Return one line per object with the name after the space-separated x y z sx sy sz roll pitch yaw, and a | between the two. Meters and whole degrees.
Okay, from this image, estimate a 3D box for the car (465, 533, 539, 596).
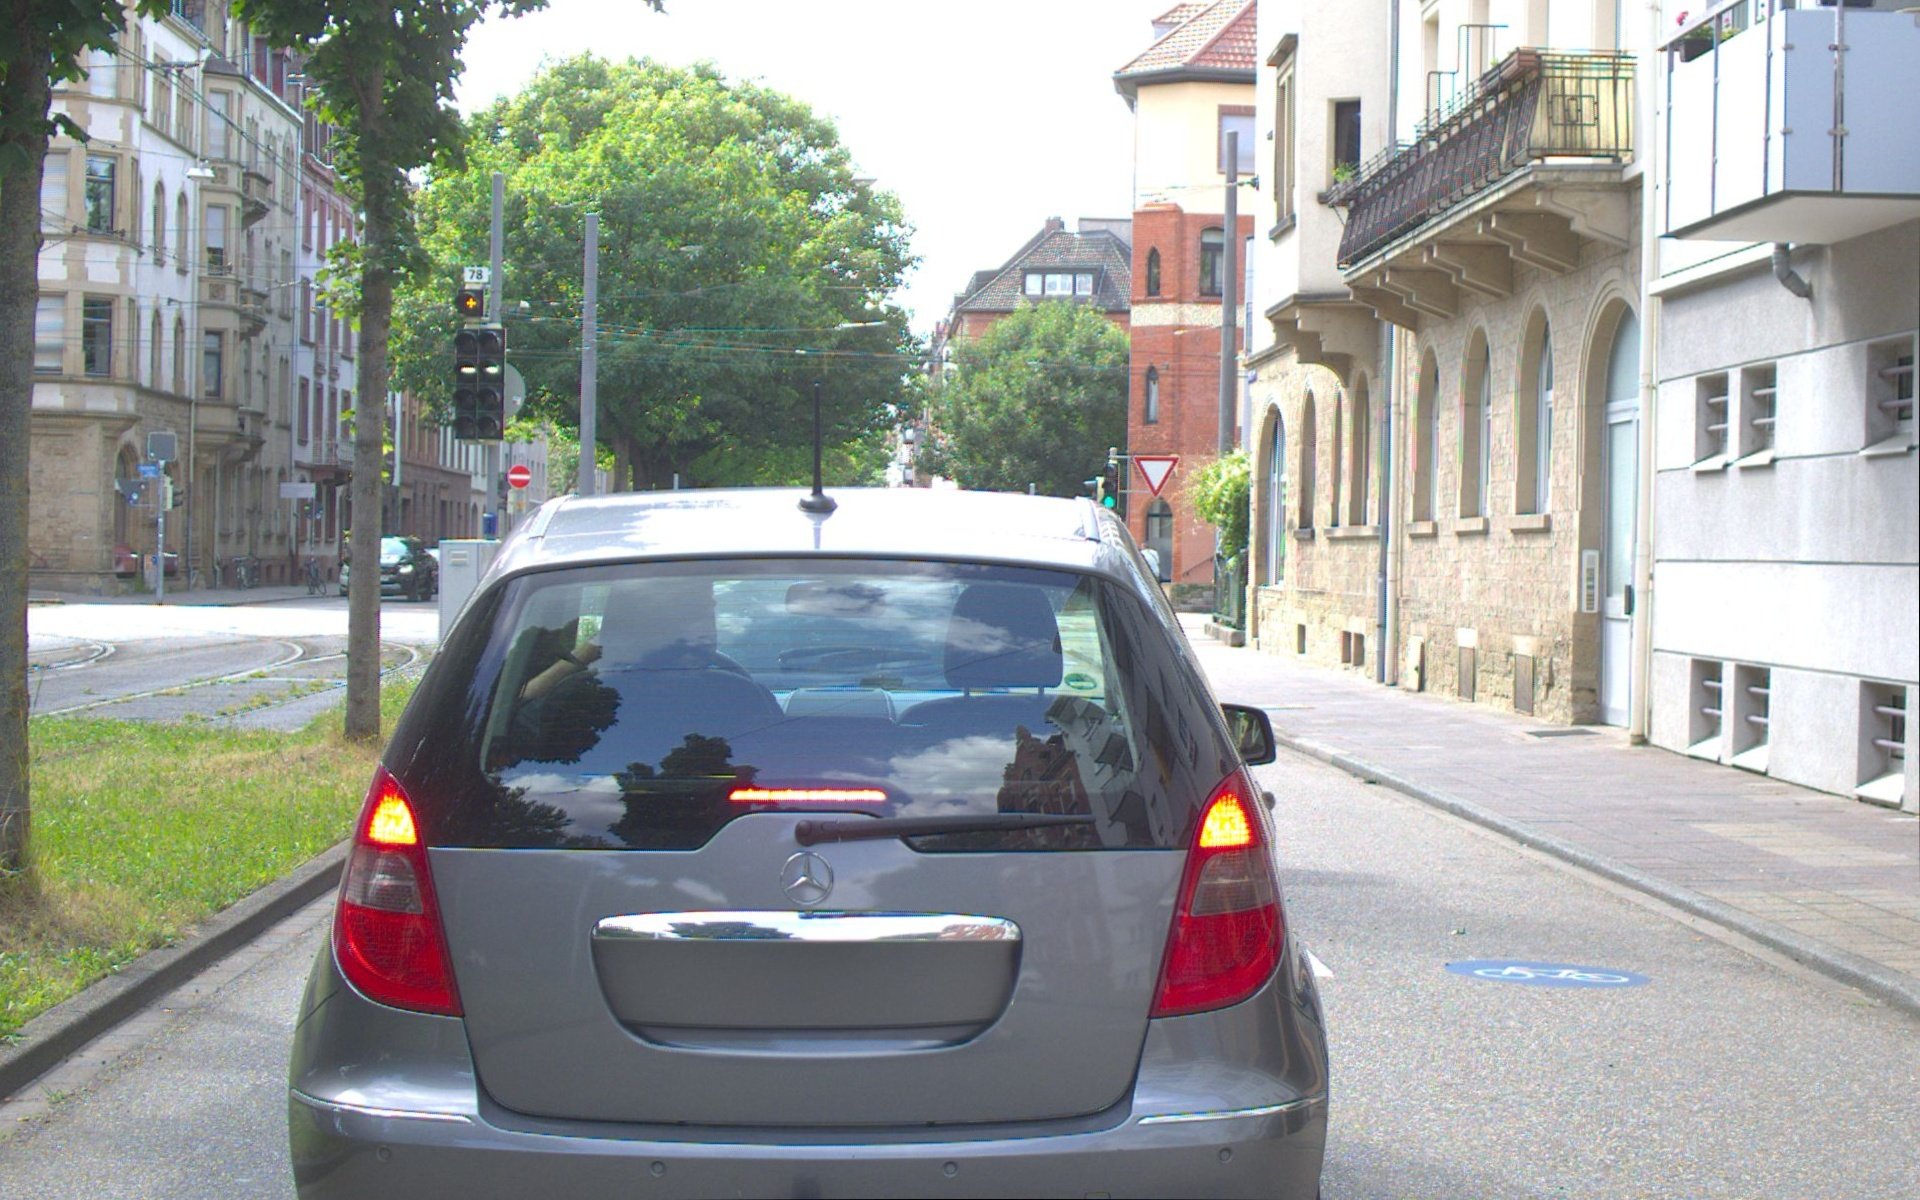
-12.930 -1.017 97.226 1.993 1.722 4.001 0 1 -7 | car

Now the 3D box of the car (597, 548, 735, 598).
-8.455 -0.782 98.578 1.969 1.334 3.999 1 1 -40 | car

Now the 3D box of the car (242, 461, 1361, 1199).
-0.267 0.571 7.162 1.722 1.600 3.677 1 1 -1 | car

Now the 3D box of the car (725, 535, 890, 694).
-1.683 0.132 38.848 1.722 1.700 3.677 1 1 -1 | car

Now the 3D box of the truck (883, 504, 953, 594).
-1.413 -1.721 116.693 2.123 2.960 4.000 1 1 2 | truck

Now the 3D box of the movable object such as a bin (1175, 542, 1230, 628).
4.207 -0.262 59.635 0.714 1.467 0.983 0 1 -10 | movable object such as a bin

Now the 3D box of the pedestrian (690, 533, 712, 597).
-7.038 -0.961 93.553 0.493 1.719 0.654 1 1 -10 | pedestrian

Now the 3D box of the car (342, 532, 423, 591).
-16.053 -1.077 95.686 1.993 1.612 4.001 0 1 -7 | car
